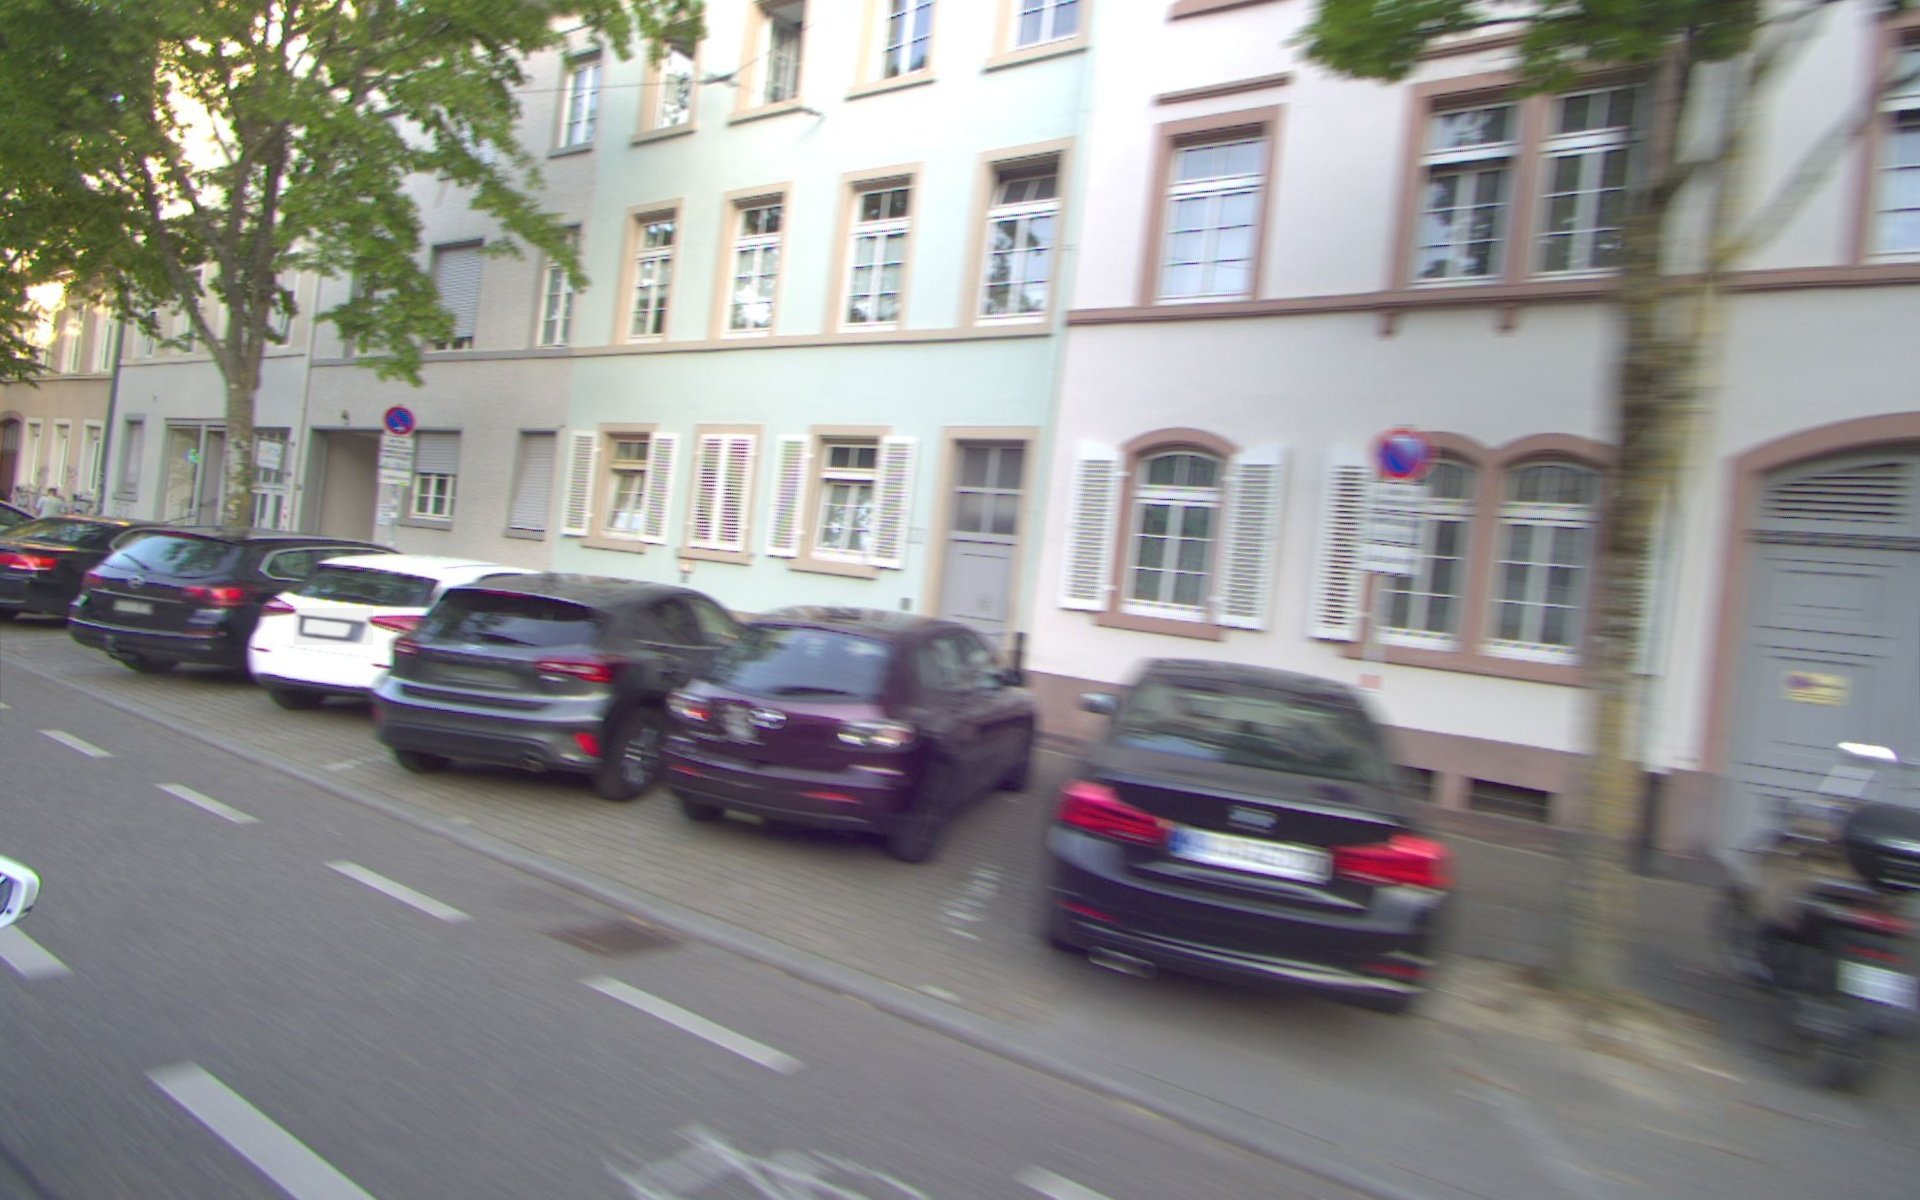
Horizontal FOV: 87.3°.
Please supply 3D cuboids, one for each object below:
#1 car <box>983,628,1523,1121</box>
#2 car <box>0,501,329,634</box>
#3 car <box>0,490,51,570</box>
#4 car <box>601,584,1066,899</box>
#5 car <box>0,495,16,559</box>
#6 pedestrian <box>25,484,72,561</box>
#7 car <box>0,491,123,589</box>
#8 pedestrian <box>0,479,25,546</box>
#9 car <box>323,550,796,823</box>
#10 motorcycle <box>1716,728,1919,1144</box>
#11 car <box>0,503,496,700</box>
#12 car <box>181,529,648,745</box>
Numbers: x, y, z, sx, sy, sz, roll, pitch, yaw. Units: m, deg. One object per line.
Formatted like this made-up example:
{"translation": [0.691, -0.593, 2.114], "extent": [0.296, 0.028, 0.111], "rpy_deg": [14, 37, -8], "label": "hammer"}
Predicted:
{"translation": [1.495, 1.039, 5.791], "extent": [1.788, 1.445, 4.173], "rpy_deg": [7, 2, 13], "label": "car"}
{"translation": [-10.901, -0.406, 13.260], "extent": [1.977, 1.409, 4.266], "rpy_deg": [6, 0, 8], "label": "car"}
{"translation": [-20.675, -1.560, 19.468], "extent": [1.861, 1.580, 4.266], "rpy_deg": [6, 0, 9], "label": "car"}
{"translation": [-0.577, 0.766, 7.542], "extent": [1.963, 1.490, 3.959], "rpy_deg": [7, 2, 15], "label": "car"}
{"translation": [-22.950, -1.785, 21.228], "extent": [1.861, 1.442, 4.136], "rpy_deg": [6, 0, 6], "label": "car"}
{"translation": [-22.951, -1.951, 25.333], "extent": [0.596, 1.836, 0.566], "rpy_deg": [7, 0, 31], "label": "pedestrian"}
{"translation": [-17.462, -1.188, 17.272], "extent": [1.982, 1.568, 4.263], "rpy_deg": [7, 0, 21], "label": "car"}
{"translation": [-23.846, -2.204, 25.041], "extent": [0.800, 1.587, 0.538], "rpy_deg": [7, 0, 33], "label": "pedestrian"}
{"translation": [-2.845, 0.499, 8.280], "extent": [1.789, 1.490, 4.127], "rpy_deg": [6, 2, 6], "label": "car"}
{"translation": [3.920, 1.342, 4.479], "extent": [0.524, 1.361, 1.788], "rpy_deg": [7, 1, 30], "label": "motorcycle"}
{"translation": [-7.143, -0.015, 10.746], "extent": [1.977, 1.490, 4.127], "rpy_deg": [6, 2, 7], "label": "car"}
{"translation": [-4.998, 0.262, 10.029], "extent": [1.949, 1.490, 4.127], "rpy_deg": [6, 2, 7], "label": "car"}
